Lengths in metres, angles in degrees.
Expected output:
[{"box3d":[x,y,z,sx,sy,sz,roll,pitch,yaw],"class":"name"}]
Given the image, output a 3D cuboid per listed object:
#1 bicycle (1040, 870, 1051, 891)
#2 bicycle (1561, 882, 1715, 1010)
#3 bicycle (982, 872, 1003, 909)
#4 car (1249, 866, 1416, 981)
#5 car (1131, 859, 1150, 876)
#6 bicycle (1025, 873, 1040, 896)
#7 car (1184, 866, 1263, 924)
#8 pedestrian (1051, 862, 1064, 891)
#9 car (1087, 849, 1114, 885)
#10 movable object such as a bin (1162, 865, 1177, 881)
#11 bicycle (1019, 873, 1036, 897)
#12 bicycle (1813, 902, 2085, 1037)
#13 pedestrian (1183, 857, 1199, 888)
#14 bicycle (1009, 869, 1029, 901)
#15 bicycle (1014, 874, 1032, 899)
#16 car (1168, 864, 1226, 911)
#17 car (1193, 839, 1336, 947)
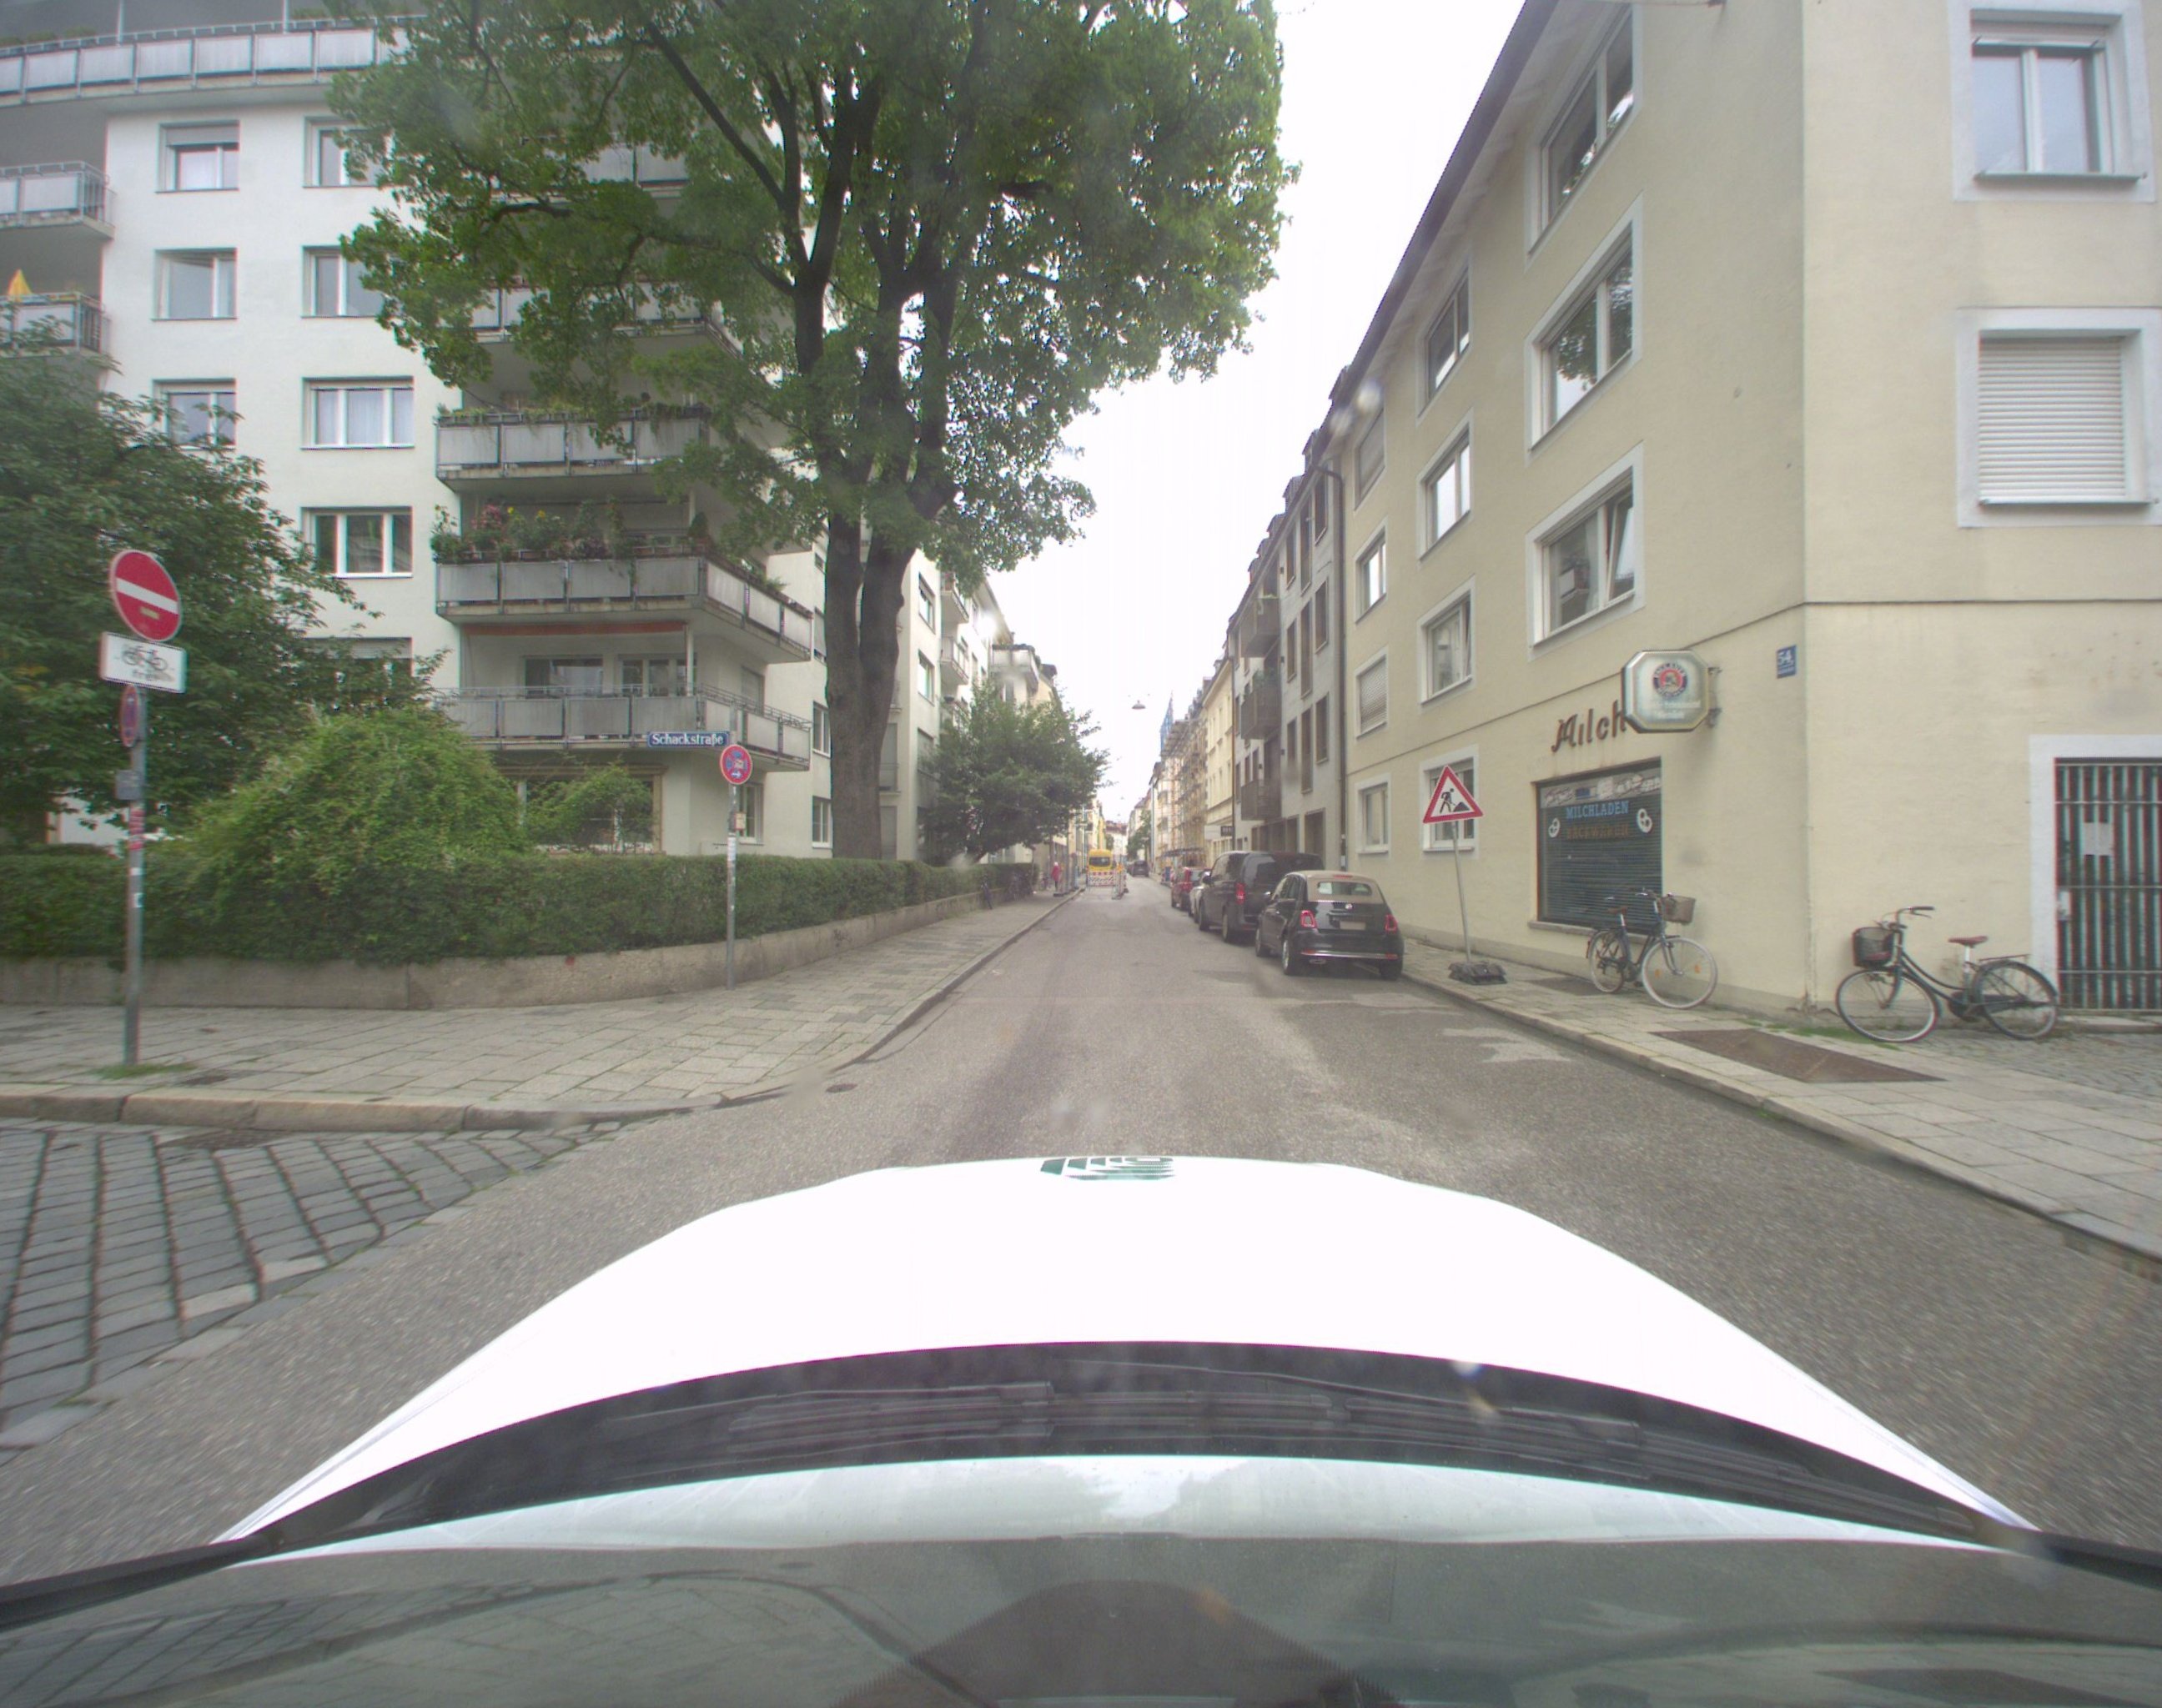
[{"box3d":[-1.952,1.455,45.125,0.375,1.063,1.598,6,0,3],"class":"bicycle"},{"box3d":[5.900,0.915,8.763,0.408,1.214,1.820,-3,-2,3],"class":"bicycle"},{"box3d":[-2.796,1.134,25.844,0.345,1.072,1.781,3,-1,3],"class":"bicycle"},{"box3d":[3.726,0.958,12.665,1.628,1.471,3.540,2,-1,3],"class":"car"},{"box3d":[6.915,1.582,95.353,1.986,1.932,4.661,1,-1,1],"class":"car"},{"box3d":[-2.204,1.384,37.184,0.441,0.978,1.817,3,-2,4],"class":"bicycle"},{"box3d":[4.024,1.111,23.650,1.760,1.461,4.384,2,-1,4],"class":"car"},{"box3d":[-1.275,1.225,44.679,0.635,1.532,0.748,0,-1,4],"class":"pedestrian"},{"box3d":[1.514,1.001,63.502,1.986,2.579,6.738,-1,-1,2],"class":"car"},{"box3d":[7.890,1.702,72.947,1.078,1.346,1.322,-3,-1,14],"class":"movable object such as a bin"},{"box3d":[-2.309,1.350,35.320,0.441,0.978,1.855,3,-2,4],"class":"bicycle"},{"box3d":[7.045,0.928,6.652,1.694,1.027,0.411,-1,-2,2],"class":"bicycle"},{"box3d":[6.433,1.080,47.723,0.727,1.752,0.988,-4,-1,1],"class":"pedestrian"},{"box3d":[-2.380,1.184,31.294,0.486,1.151,1.700,3,-2,4],"class":"bicycle"},{"box3d":[-2.396,1.324,33.760,0.434,0.978,1.700,3,-2,4],"class":"bicycle"},{"box3d":[4.107,1.142,29.273,1.764,1.524,4.071,2,-1,4],"class":"car"},{"box3d":[3.784,0.758,17.762,1.984,1.977,4.884,2,-1,0],"class":"car"}]
